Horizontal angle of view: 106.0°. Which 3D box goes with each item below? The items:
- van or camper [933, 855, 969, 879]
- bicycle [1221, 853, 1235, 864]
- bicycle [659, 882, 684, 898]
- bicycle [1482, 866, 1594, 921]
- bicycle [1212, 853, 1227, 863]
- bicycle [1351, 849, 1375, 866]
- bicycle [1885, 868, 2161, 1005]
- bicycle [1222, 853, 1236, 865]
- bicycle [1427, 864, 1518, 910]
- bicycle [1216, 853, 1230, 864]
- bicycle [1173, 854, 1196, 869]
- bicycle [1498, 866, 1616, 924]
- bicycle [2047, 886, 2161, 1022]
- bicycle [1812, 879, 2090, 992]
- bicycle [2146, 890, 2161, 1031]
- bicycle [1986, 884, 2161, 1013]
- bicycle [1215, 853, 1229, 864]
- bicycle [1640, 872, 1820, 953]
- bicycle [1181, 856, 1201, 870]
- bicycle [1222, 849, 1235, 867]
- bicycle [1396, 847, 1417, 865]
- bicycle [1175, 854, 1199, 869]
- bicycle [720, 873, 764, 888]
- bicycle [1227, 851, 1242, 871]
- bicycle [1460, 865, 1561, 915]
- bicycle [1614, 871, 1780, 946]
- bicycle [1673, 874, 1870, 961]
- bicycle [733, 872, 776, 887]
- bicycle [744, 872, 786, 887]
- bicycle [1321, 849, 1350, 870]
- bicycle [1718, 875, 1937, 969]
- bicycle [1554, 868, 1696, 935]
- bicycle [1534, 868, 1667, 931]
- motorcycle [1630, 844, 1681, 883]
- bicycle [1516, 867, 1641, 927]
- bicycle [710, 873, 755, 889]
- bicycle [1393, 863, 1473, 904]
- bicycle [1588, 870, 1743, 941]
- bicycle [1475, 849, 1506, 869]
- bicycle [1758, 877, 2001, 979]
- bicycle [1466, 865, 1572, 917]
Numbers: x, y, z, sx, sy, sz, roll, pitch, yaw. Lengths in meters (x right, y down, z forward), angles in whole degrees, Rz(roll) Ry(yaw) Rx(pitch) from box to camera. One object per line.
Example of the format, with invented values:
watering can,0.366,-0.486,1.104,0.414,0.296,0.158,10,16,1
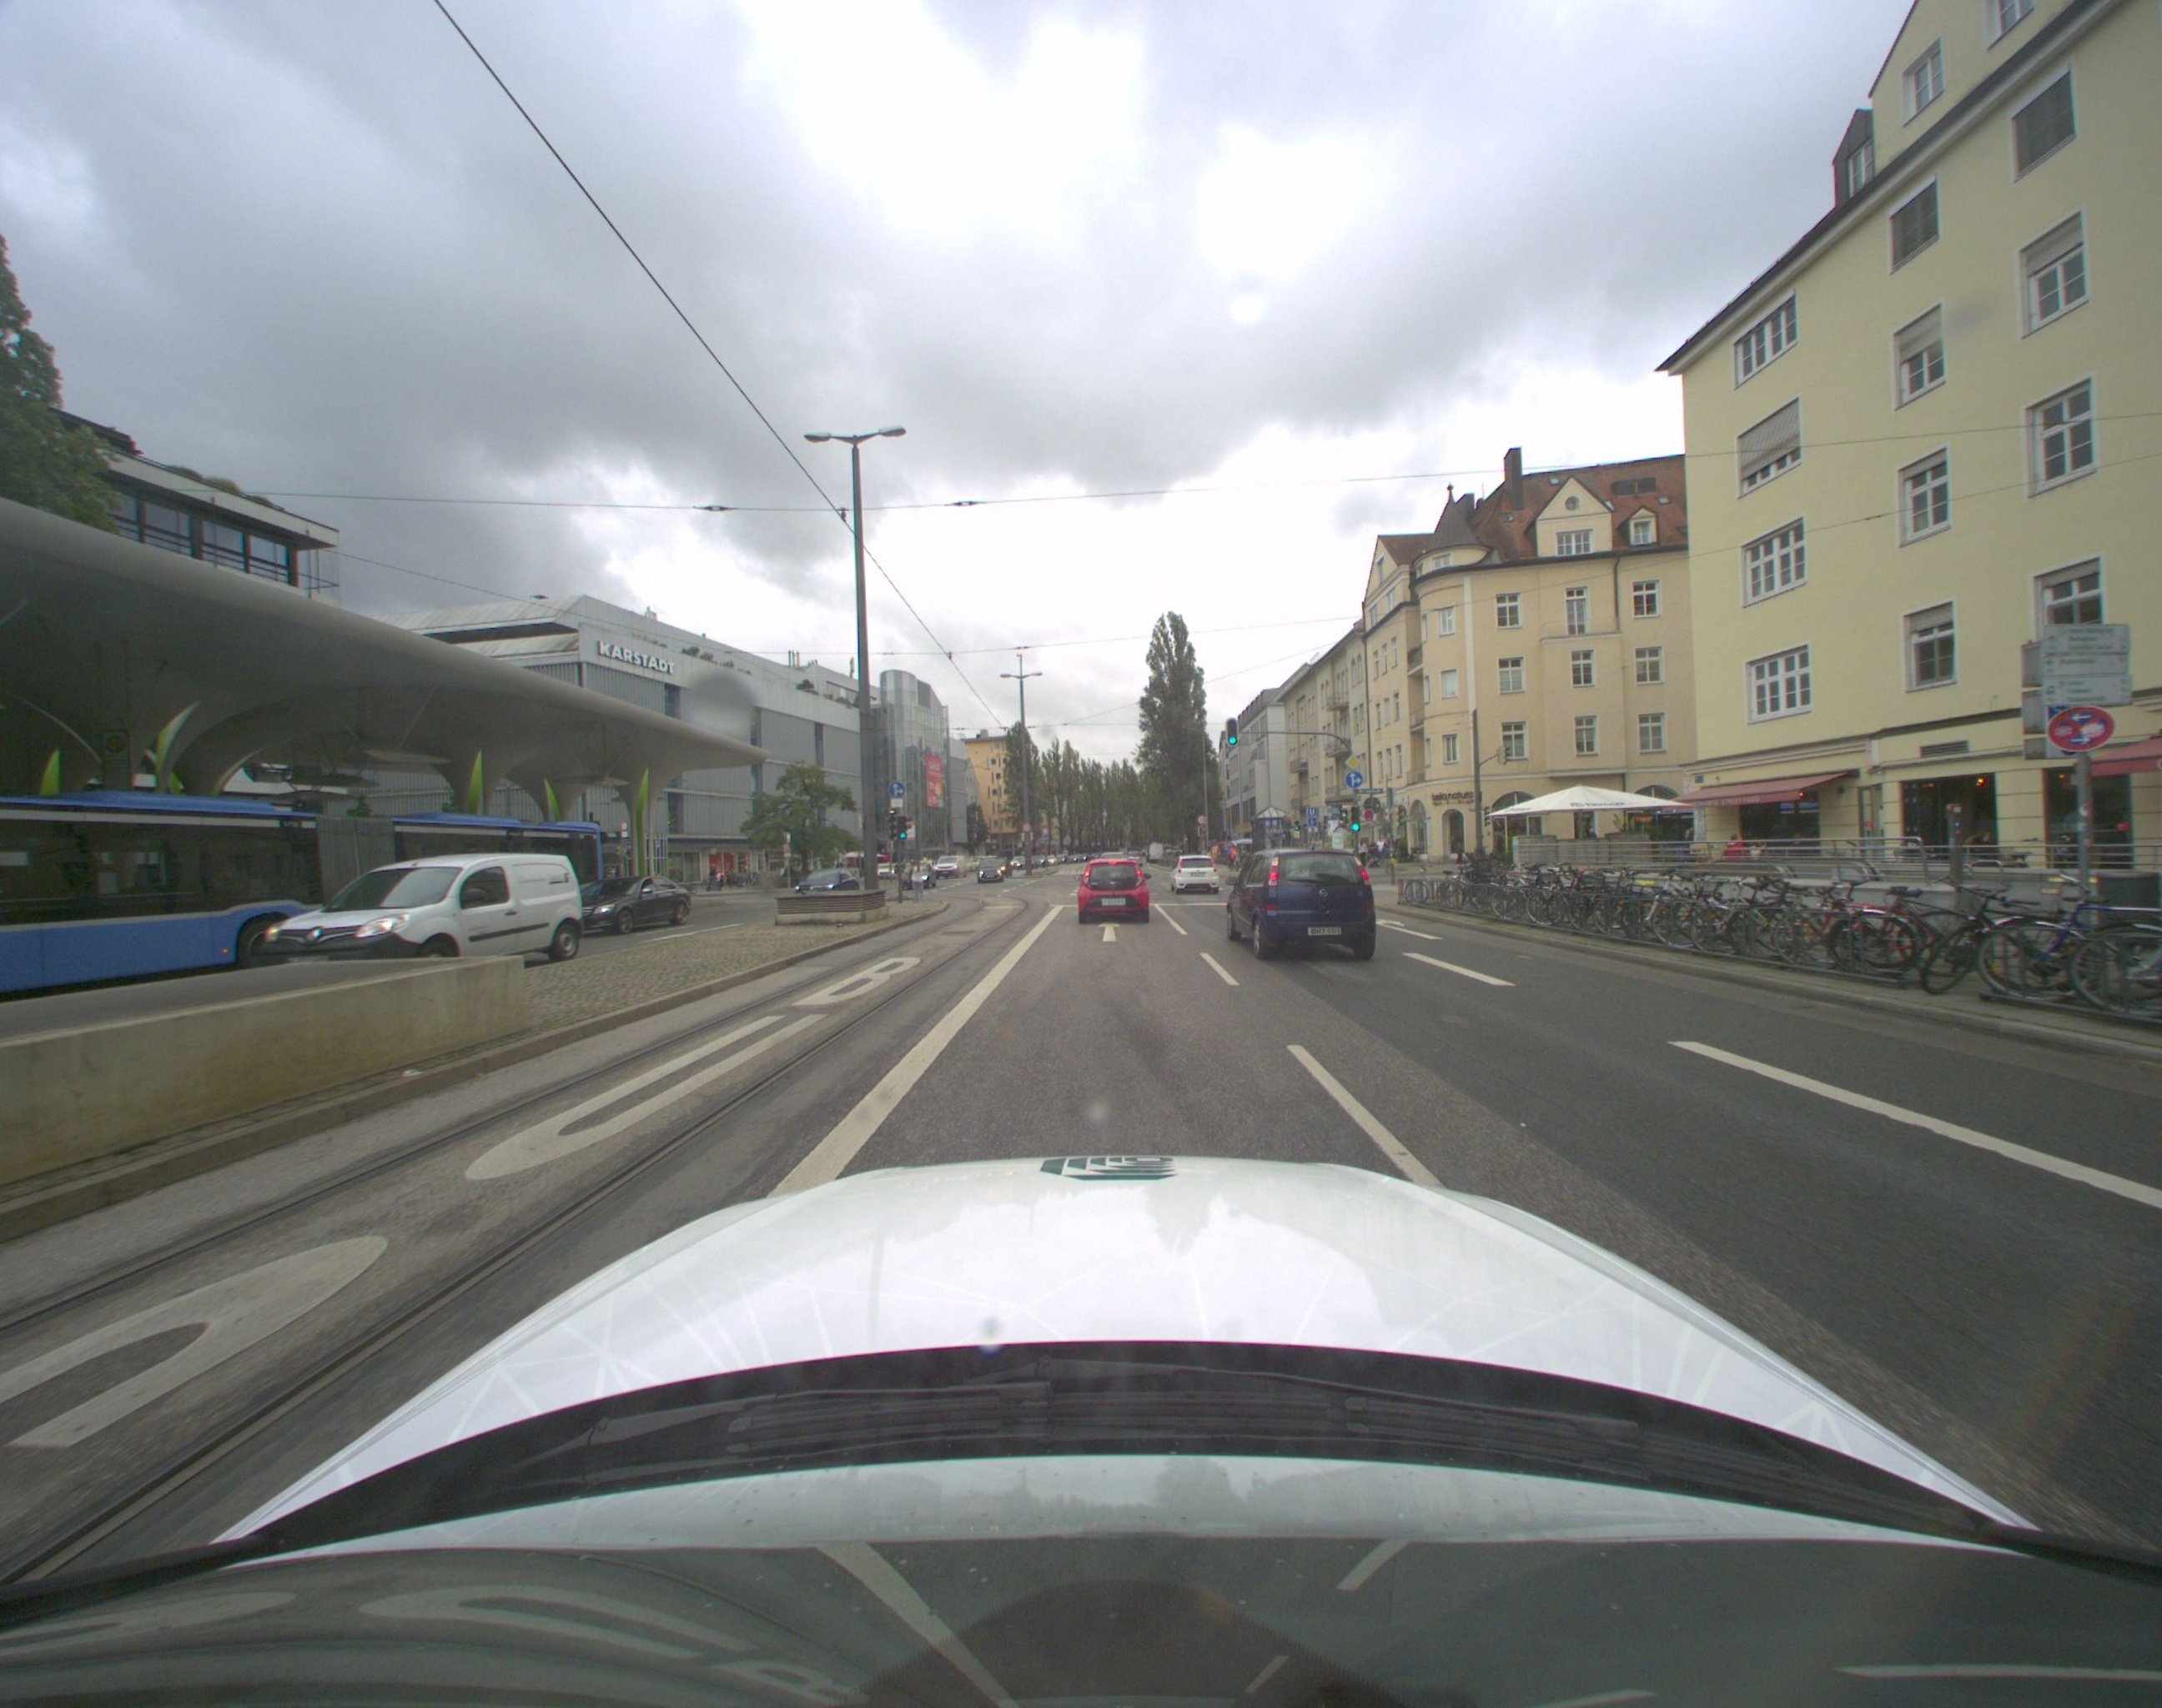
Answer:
van or camper,-10.859,1.066,68.583,1.921,1.825,5.442,-3,0,1
bicycle,13.379,0.435,74.100,1.177,0.963,0.369,-2,0,0
bicycle,-27.411,2.418,54.523,0.525,0.998,1.987,-2,-2,3
bicycle,8.810,0.759,15.760,0.350,0.996,1.819,-2,-1,-45
bicycle,13.563,0.415,79.896,1.423,0.963,0.370,-2,0,7
bicycle,18.268,0.255,52.769,0.495,1.059,1.858,-2,0,-13
bicycle,8.609,0.718,7.367,1.818,1.112,0.470,-2,0,34
bicycle,13.364,0.455,73.556,1.175,0.963,0.370,-2,0,6
bicycle,8.892,0.753,18.552,0.350,0.996,1.819,-2,-1,-44
bicycle,13.600,0.416,77.921,1.253,0.963,0.370,-2,0,11
bicycle,8.440,0.590,66.639,1.781,1.158,0.490,-2,0,32
bicycle,8.786,0.760,15.094,0.350,0.996,1.819,-2,-1,-45
bicycle,8.595,0.770,6.036,1.819,0.995,0.327,0,2,42
bicycle,8.509,0.766,8.071,0.327,0.996,1.819,-2,0,-44
bicycle,8.507,0.772,5.345,0.327,0.995,1.819,-2,2,-44
bicycle,8.729,0.769,6.610,1.819,0.995,0.327,0,2,42
bicycle,13.613,0.410,78.405,1.255,0.963,0.370,-2,0,5
bicycle,8.636,0.770,10.917,0.350,0.996,1.819,-2,-1,-44
bicycle,8.343,0.673,61.776,0.502,1.028,1.582,-2,0,-40
bicycle,11.002,0.266,60.690,0.611,1.265,2.521,-2,0,3
bicycle,21.185,0.132,53.056,0.493,1.089,1.864,-2,0,-4
bicycle,8.379,0.572,64.513,1.782,1.158,0.551,-2,0,40
bicycle,-28.783,2.235,69.198,3.468,1.156,1.064,-2,0,14
bicycle,10.259,0.471,54.379,0.611,1.265,2.521,-2,0,3
bicycle,8.956,0.756,17.042,0.350,0.996,1.820,-2,-1,-42
bicycle,8.733,0.767,11.605,1.818,0.996,0.350,-3,-1,41
bicycle,8.583,0.772,10.200,0.350,0.996,1.819,-2,-1,-44
bicycle,-28.369,2.232,70.822,3.468,1.156,1.064,-2,0,14
bicycle,-28.009,2.229,72.247,3.468,1.156,1.064,-2,0,14
bicycle,15.025,0.335,48.105,1.561,1.160,0.525,-3,2,4
bicycle,8.628,0.773,9.509,1.818,0.996,0.350,-3,-1,42
bicycle,8.686,0.764,13.070,1.818,0.996,0.350,-3,-1,41
bicycle,8.722,0.763,13.742,1.818,0.996,0.350,-3,-1,41
motorcycle,17.747,0.278,25.192,0.484,1.156,1.572,-2,0,2
bicycle,8.767,0.762,14.407,1.818,0.996,0.350,-3,-1,41
bicycle,-29.088,2.238,67.992,3.468,1.156,1.064,-2,0,14
bicycle,8.928,0.749,20.709,0.350,0.996,1.819,-2,-1,-44
bicycle,8.754,0.766,12.260,1.818,0.996,0.350,-3,-1,41
bicycle,22.044,0.254,43.845,1.580,1.033,0.356,-2,0,-13
bicycle,8.580,0.774,8.844,0.350,0.996,1.819,-2,-1,-44
bicycle,8.823,0.757,16.477,0.350,0.996,1.819,-2,-1,-45
